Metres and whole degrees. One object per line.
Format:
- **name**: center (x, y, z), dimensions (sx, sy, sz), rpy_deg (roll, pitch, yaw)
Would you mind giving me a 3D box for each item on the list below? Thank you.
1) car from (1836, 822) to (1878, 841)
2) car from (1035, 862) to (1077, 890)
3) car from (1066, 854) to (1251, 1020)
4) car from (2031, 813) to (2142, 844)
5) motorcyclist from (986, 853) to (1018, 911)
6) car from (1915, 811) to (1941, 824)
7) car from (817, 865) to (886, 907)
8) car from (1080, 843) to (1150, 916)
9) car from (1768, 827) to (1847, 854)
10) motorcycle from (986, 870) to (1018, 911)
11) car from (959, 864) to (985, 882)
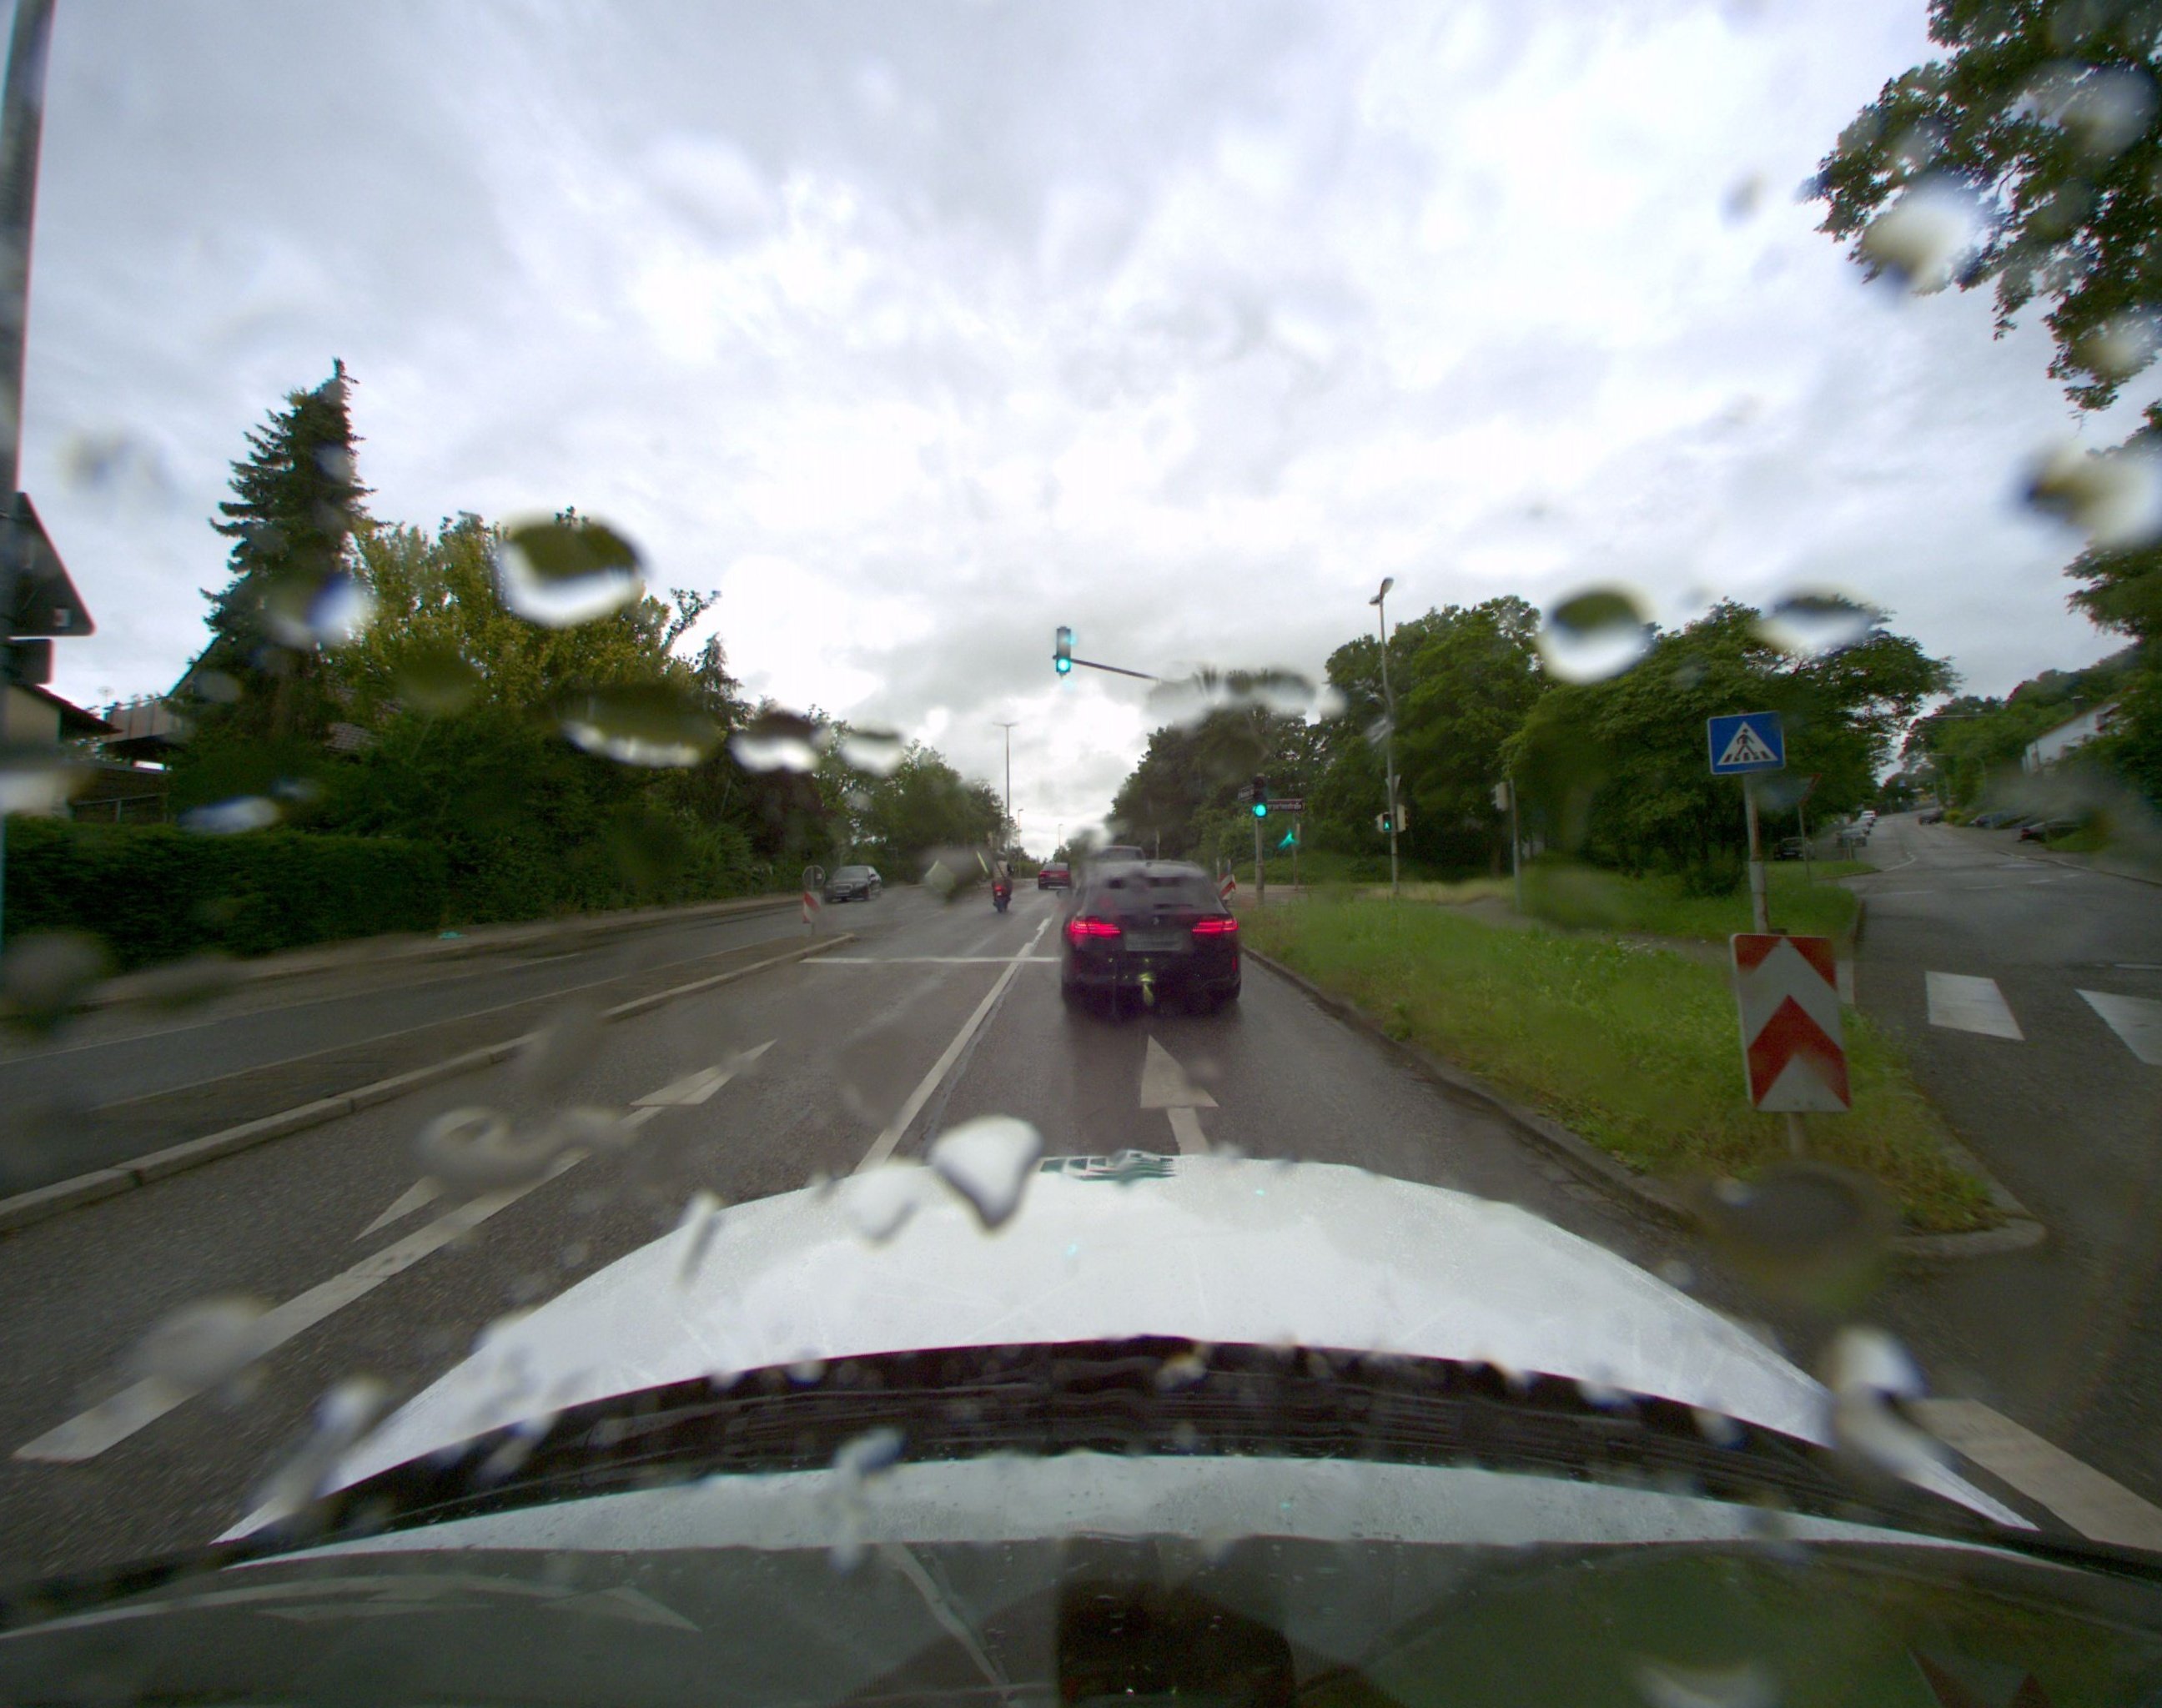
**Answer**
- **car**: center (66.017, -1.913, 69.272), dimensions (4.014, 1.446, 1.686), rpy_deg (1, -1, -32)
- **car**: center (-1.326, 1.160, 44.476), dimensions (2.007, 1.415, 4.488), rpy_deg (0, 0, 2)
- **car**: center (0.796, 0.786, 9.579), dimensions (1.758, 1.536, 3.674), rpy_deg (0, 1, 2)
- **car**: center (60.094, -1.507, 48.768), dimensions (1.969, 1.648, 3.950), rpy_deg (-1, -1, -45)
- **motorcyclist**: center (-2.281, 0.789, 23.489), dimensions (0.842, 1.647, 0.468), rpy_deg (-1, 0, 1)
- **car**: center (111.279, -4.809, 107.016), dimensions (1.921, 1.458, 4.242), rpy_deg (0, -1, 41)
- **car**: center (-9.190, 1.261, 32.921), dimensions (1.859, 1.492, 3.828), rpy_deg (-2, 0, -4)
- **car**: center (0.923, 0.635, 22.391), dimensions (1.760, 1.810, 3.907), rpy_deg (0, 0, 2)
- **car**: center (45.929, -0.820, 51.526), dimensions (3.994, 1.571, 1.819), rpy_deg (-2, -1, -15)
- **motorcycle**: center (-2.274, 1.021, 23.492), dimensions (0.738, 1.119, 1.427), rpy_deg (0, 0, 2)
- **car**: center (-10.064, 1.745, 75.386), dimensions (1.721, 1.485, 4.157), rpy_deg (-3, 0, 1)
